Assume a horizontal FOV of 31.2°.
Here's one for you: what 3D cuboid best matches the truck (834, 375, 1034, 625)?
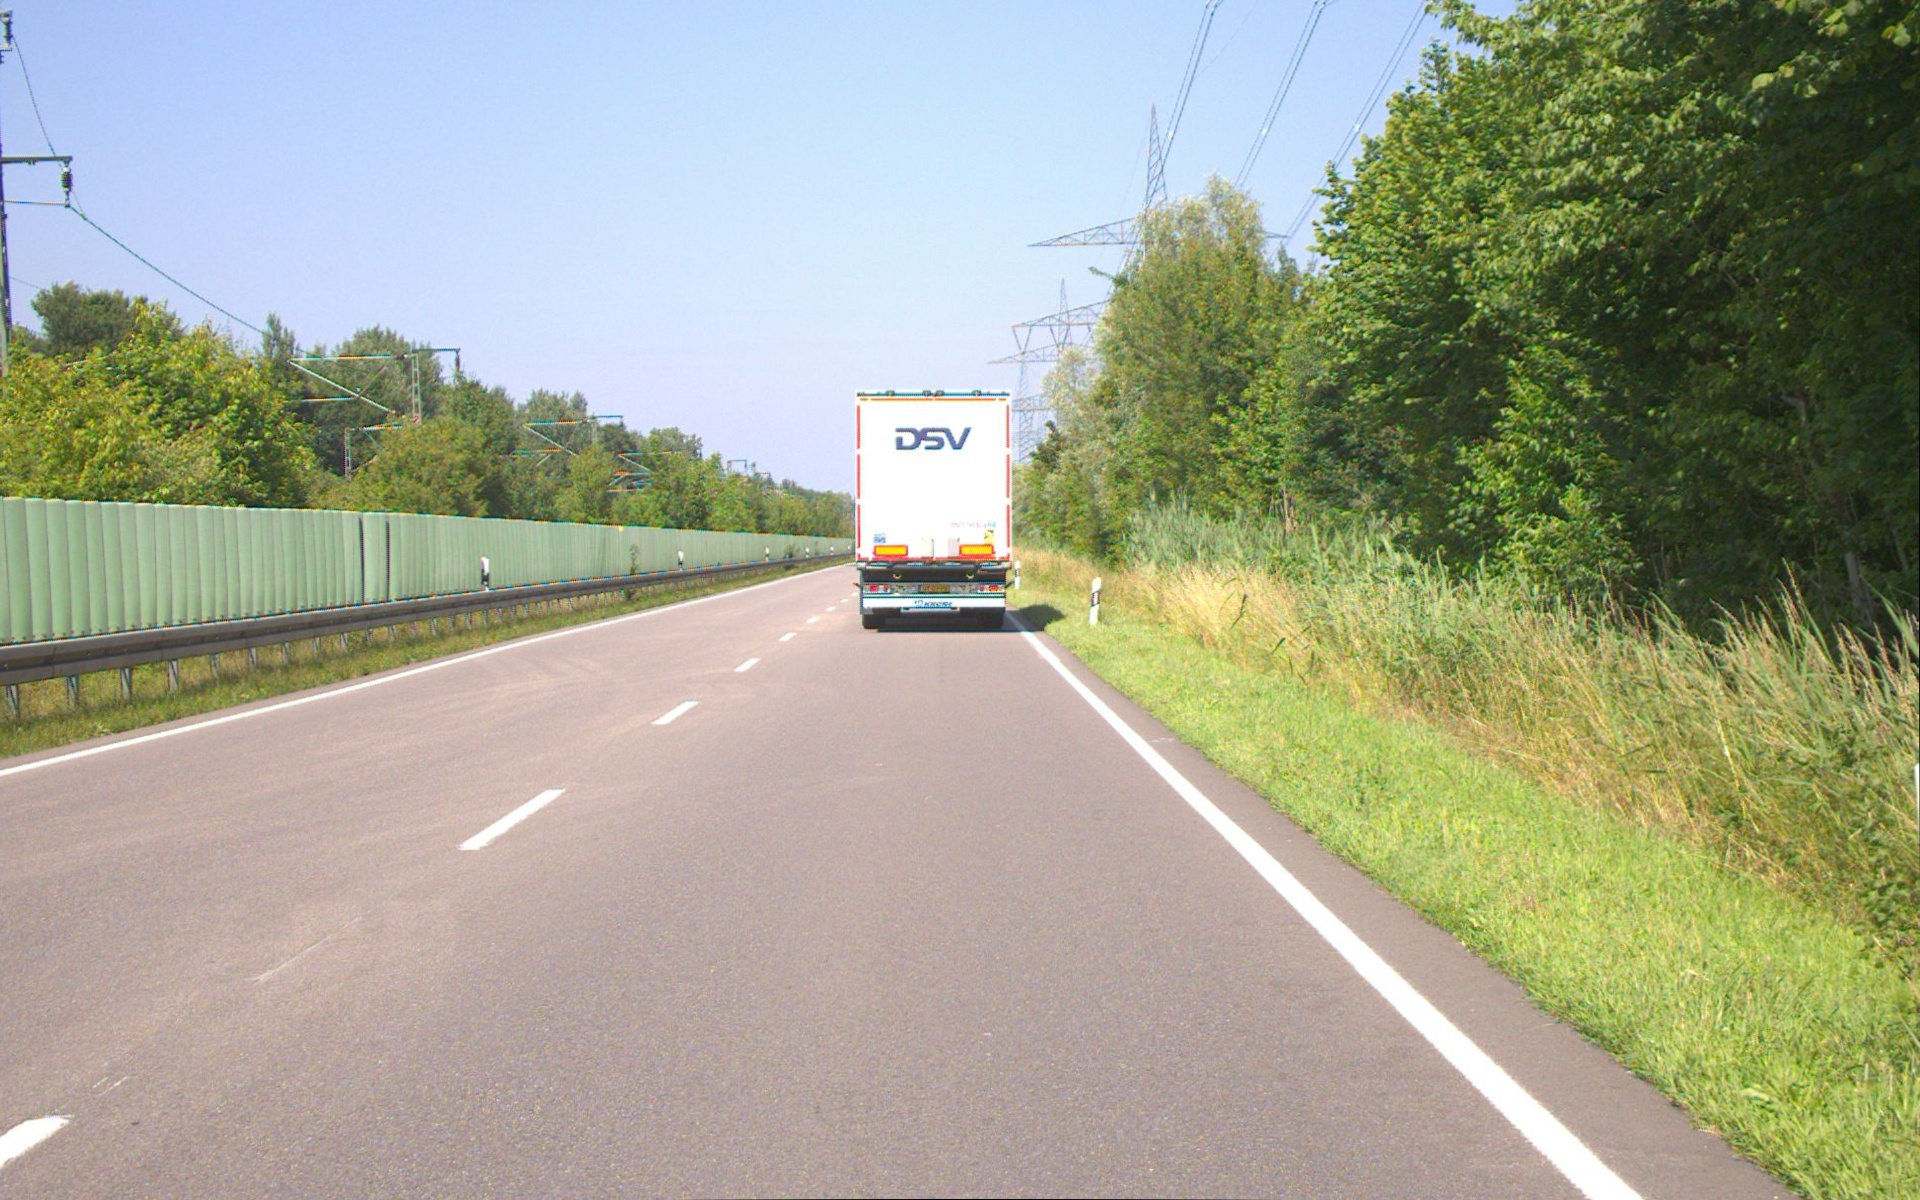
[{"bbox_3d":[-0.519,-1.734,61.743,3.192,4.029,12.008,-1,1,-1],"label":"truck"}]
